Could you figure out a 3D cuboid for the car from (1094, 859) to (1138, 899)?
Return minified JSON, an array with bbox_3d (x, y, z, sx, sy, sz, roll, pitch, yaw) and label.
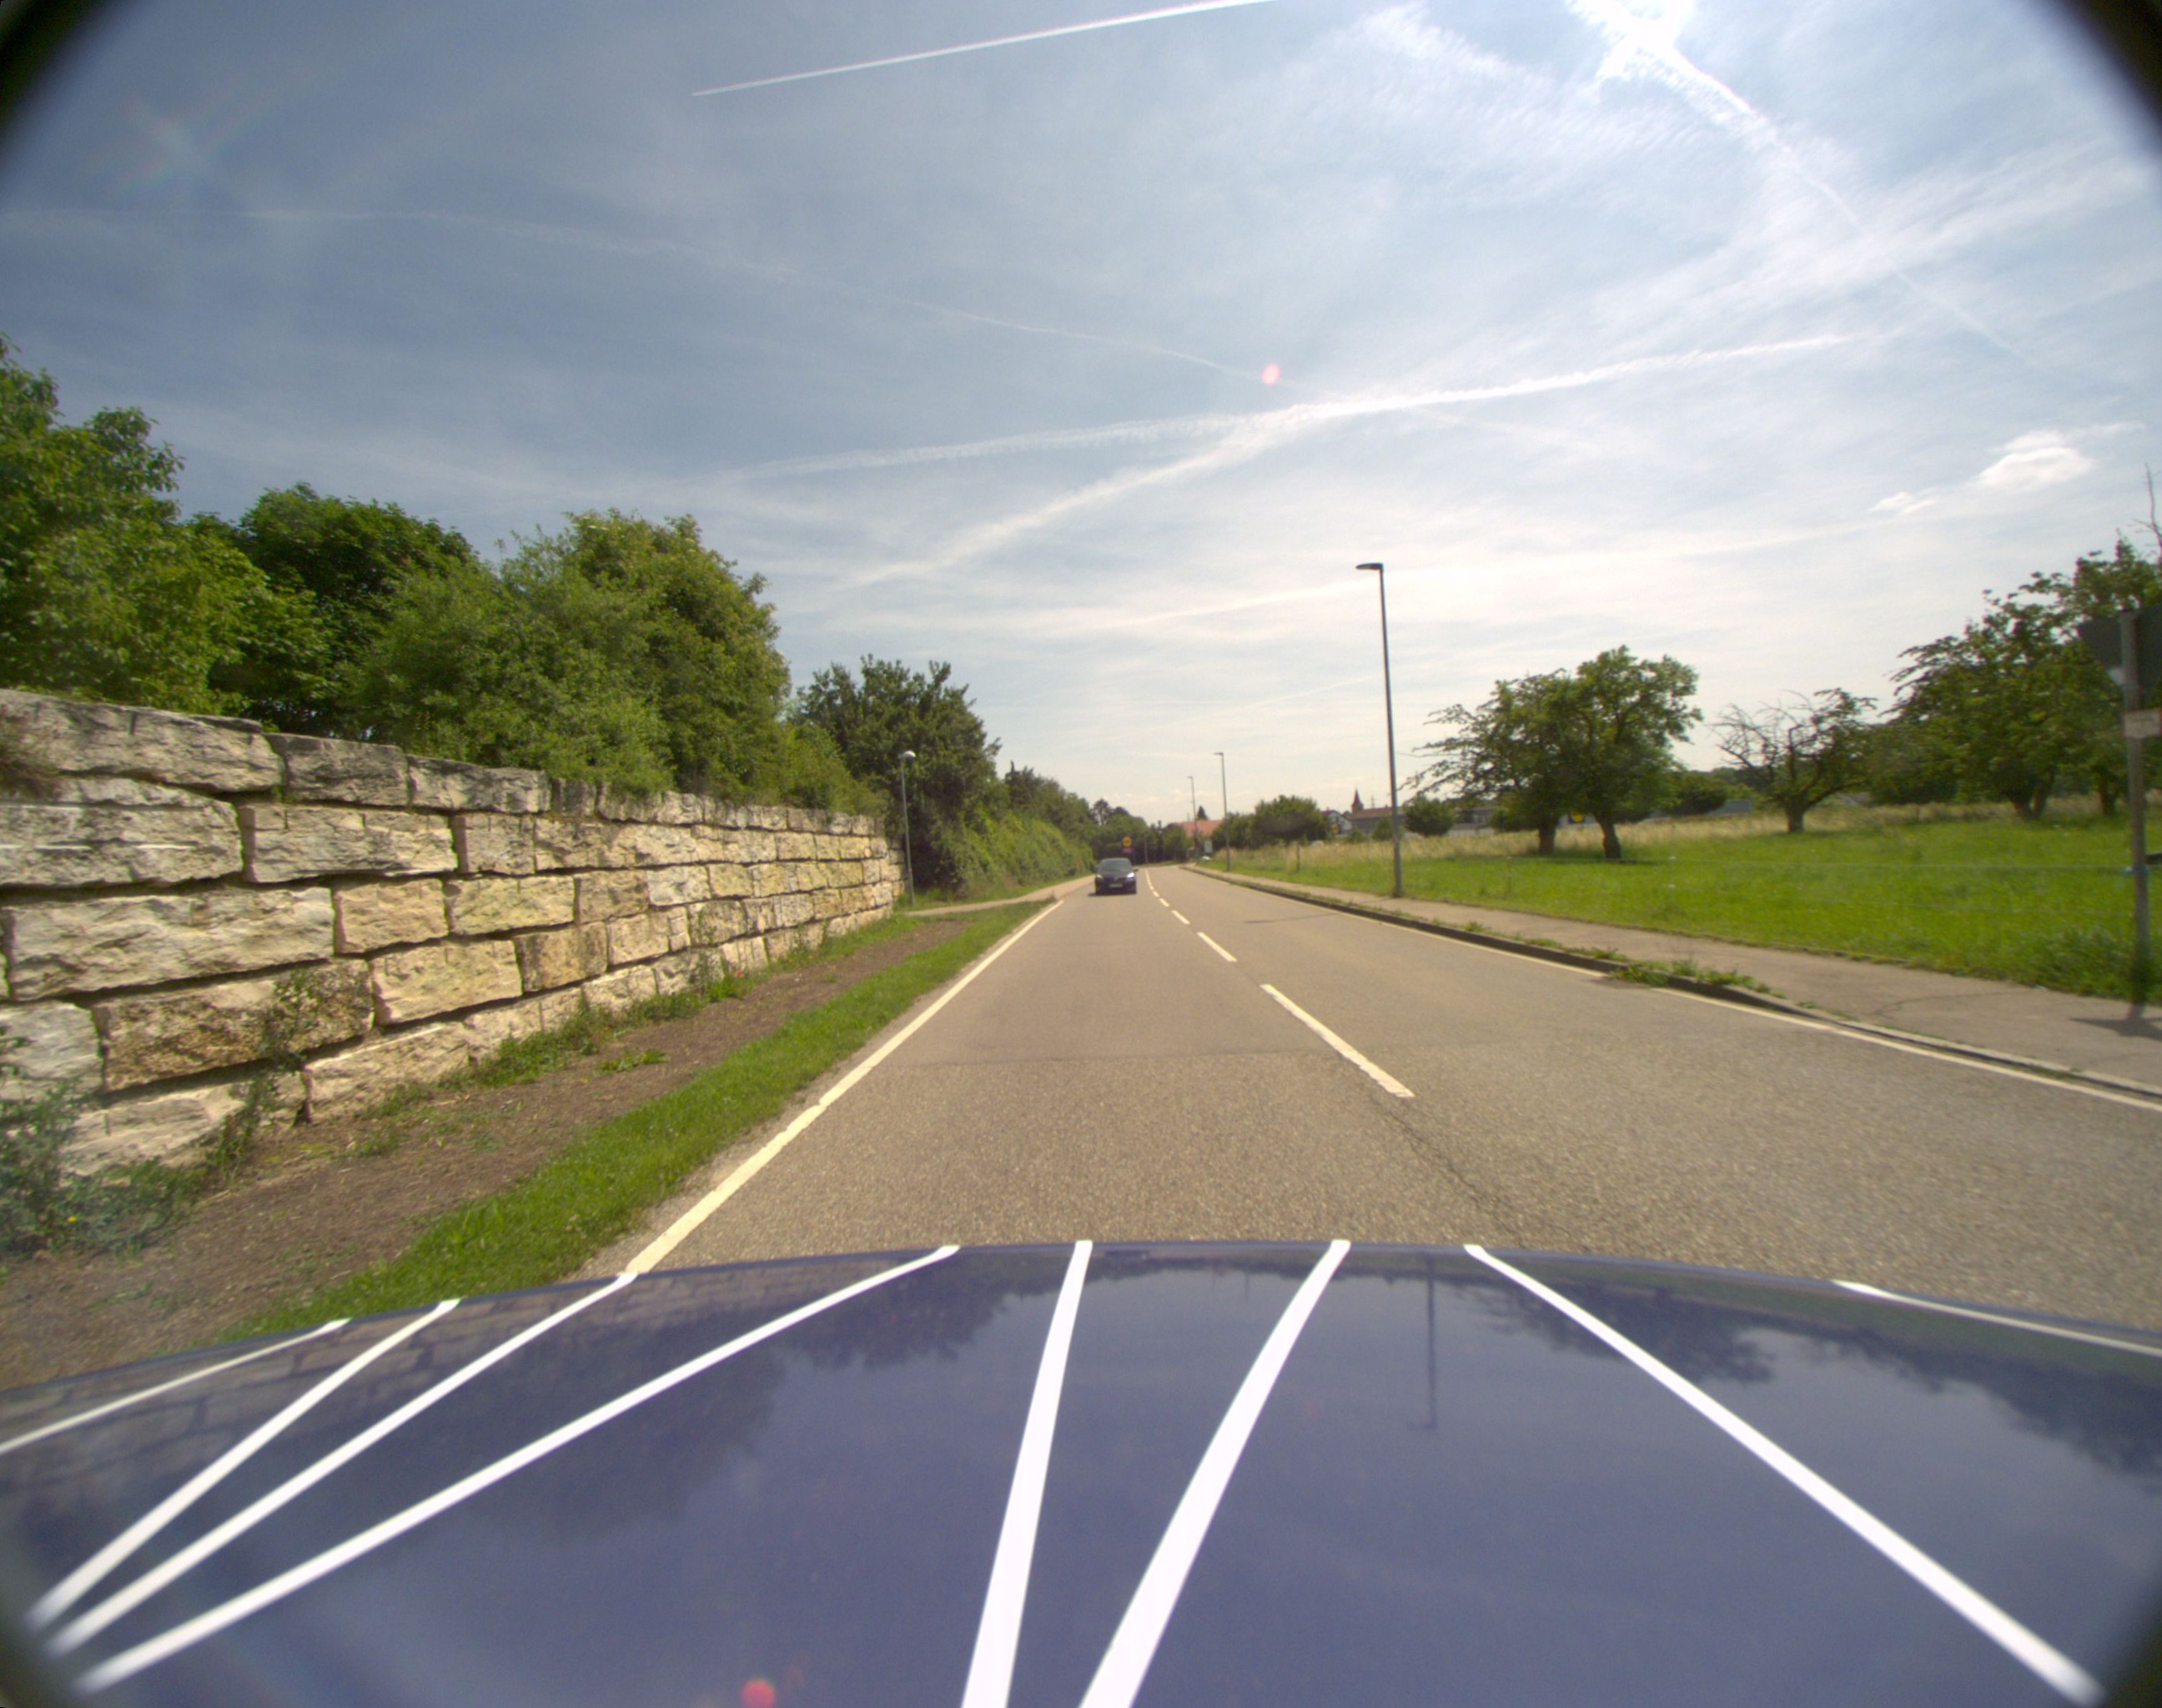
[{"bbox_3d":[1.514,0.968,31.678,1.676,1.456,4.434,-2,0,4],"label":"car"}]
